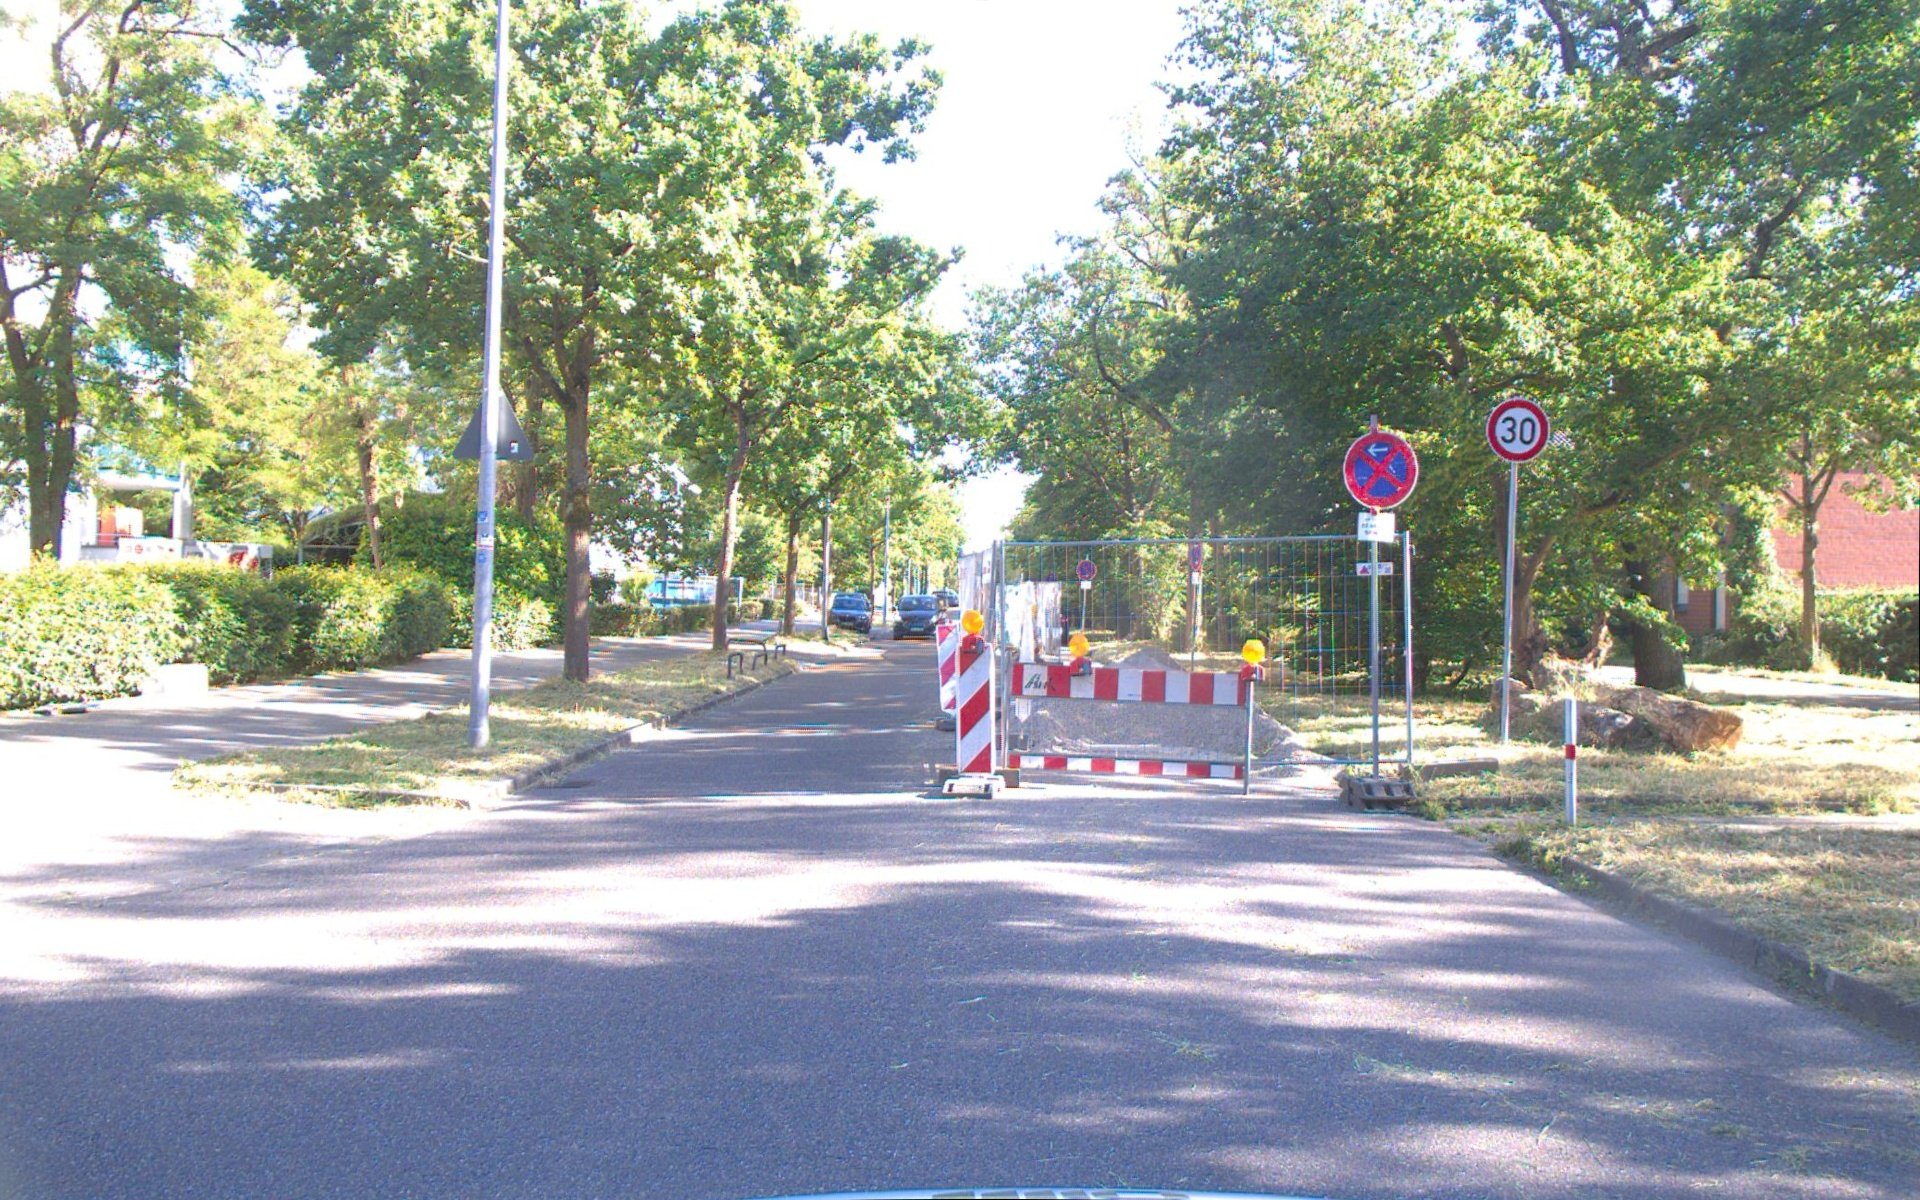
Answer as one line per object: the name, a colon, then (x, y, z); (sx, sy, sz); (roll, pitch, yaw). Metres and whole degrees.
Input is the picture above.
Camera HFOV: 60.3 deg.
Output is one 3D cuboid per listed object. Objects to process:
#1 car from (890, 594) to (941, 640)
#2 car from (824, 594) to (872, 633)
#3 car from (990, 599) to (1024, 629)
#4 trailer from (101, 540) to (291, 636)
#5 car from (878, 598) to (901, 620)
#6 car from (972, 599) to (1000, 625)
car: (-1.669, 0.631, 62.900); (1.784, 1.653, 4.492); (-1, 0, 0)
car: (-4.560, 0.524, 67.786); (1.715, 1.504, 3.836); (1, 0, -1)
car: (2.176, 0.659, 77.626); (1.334, 1.325, 3.480); (2, -1, -2)
trailer: (-17.717, -0.278, 38.596); (1.934, 2.078, 4.433); (1, 0, 7)
car: (-4.381, 0.580, 103.156); (1.334, 1.325, 3.480); (2, -1, -2)
car: (1.405, 0.650, 90.595); (1.334, 1.325, 3.480); (2, -1, -2)
